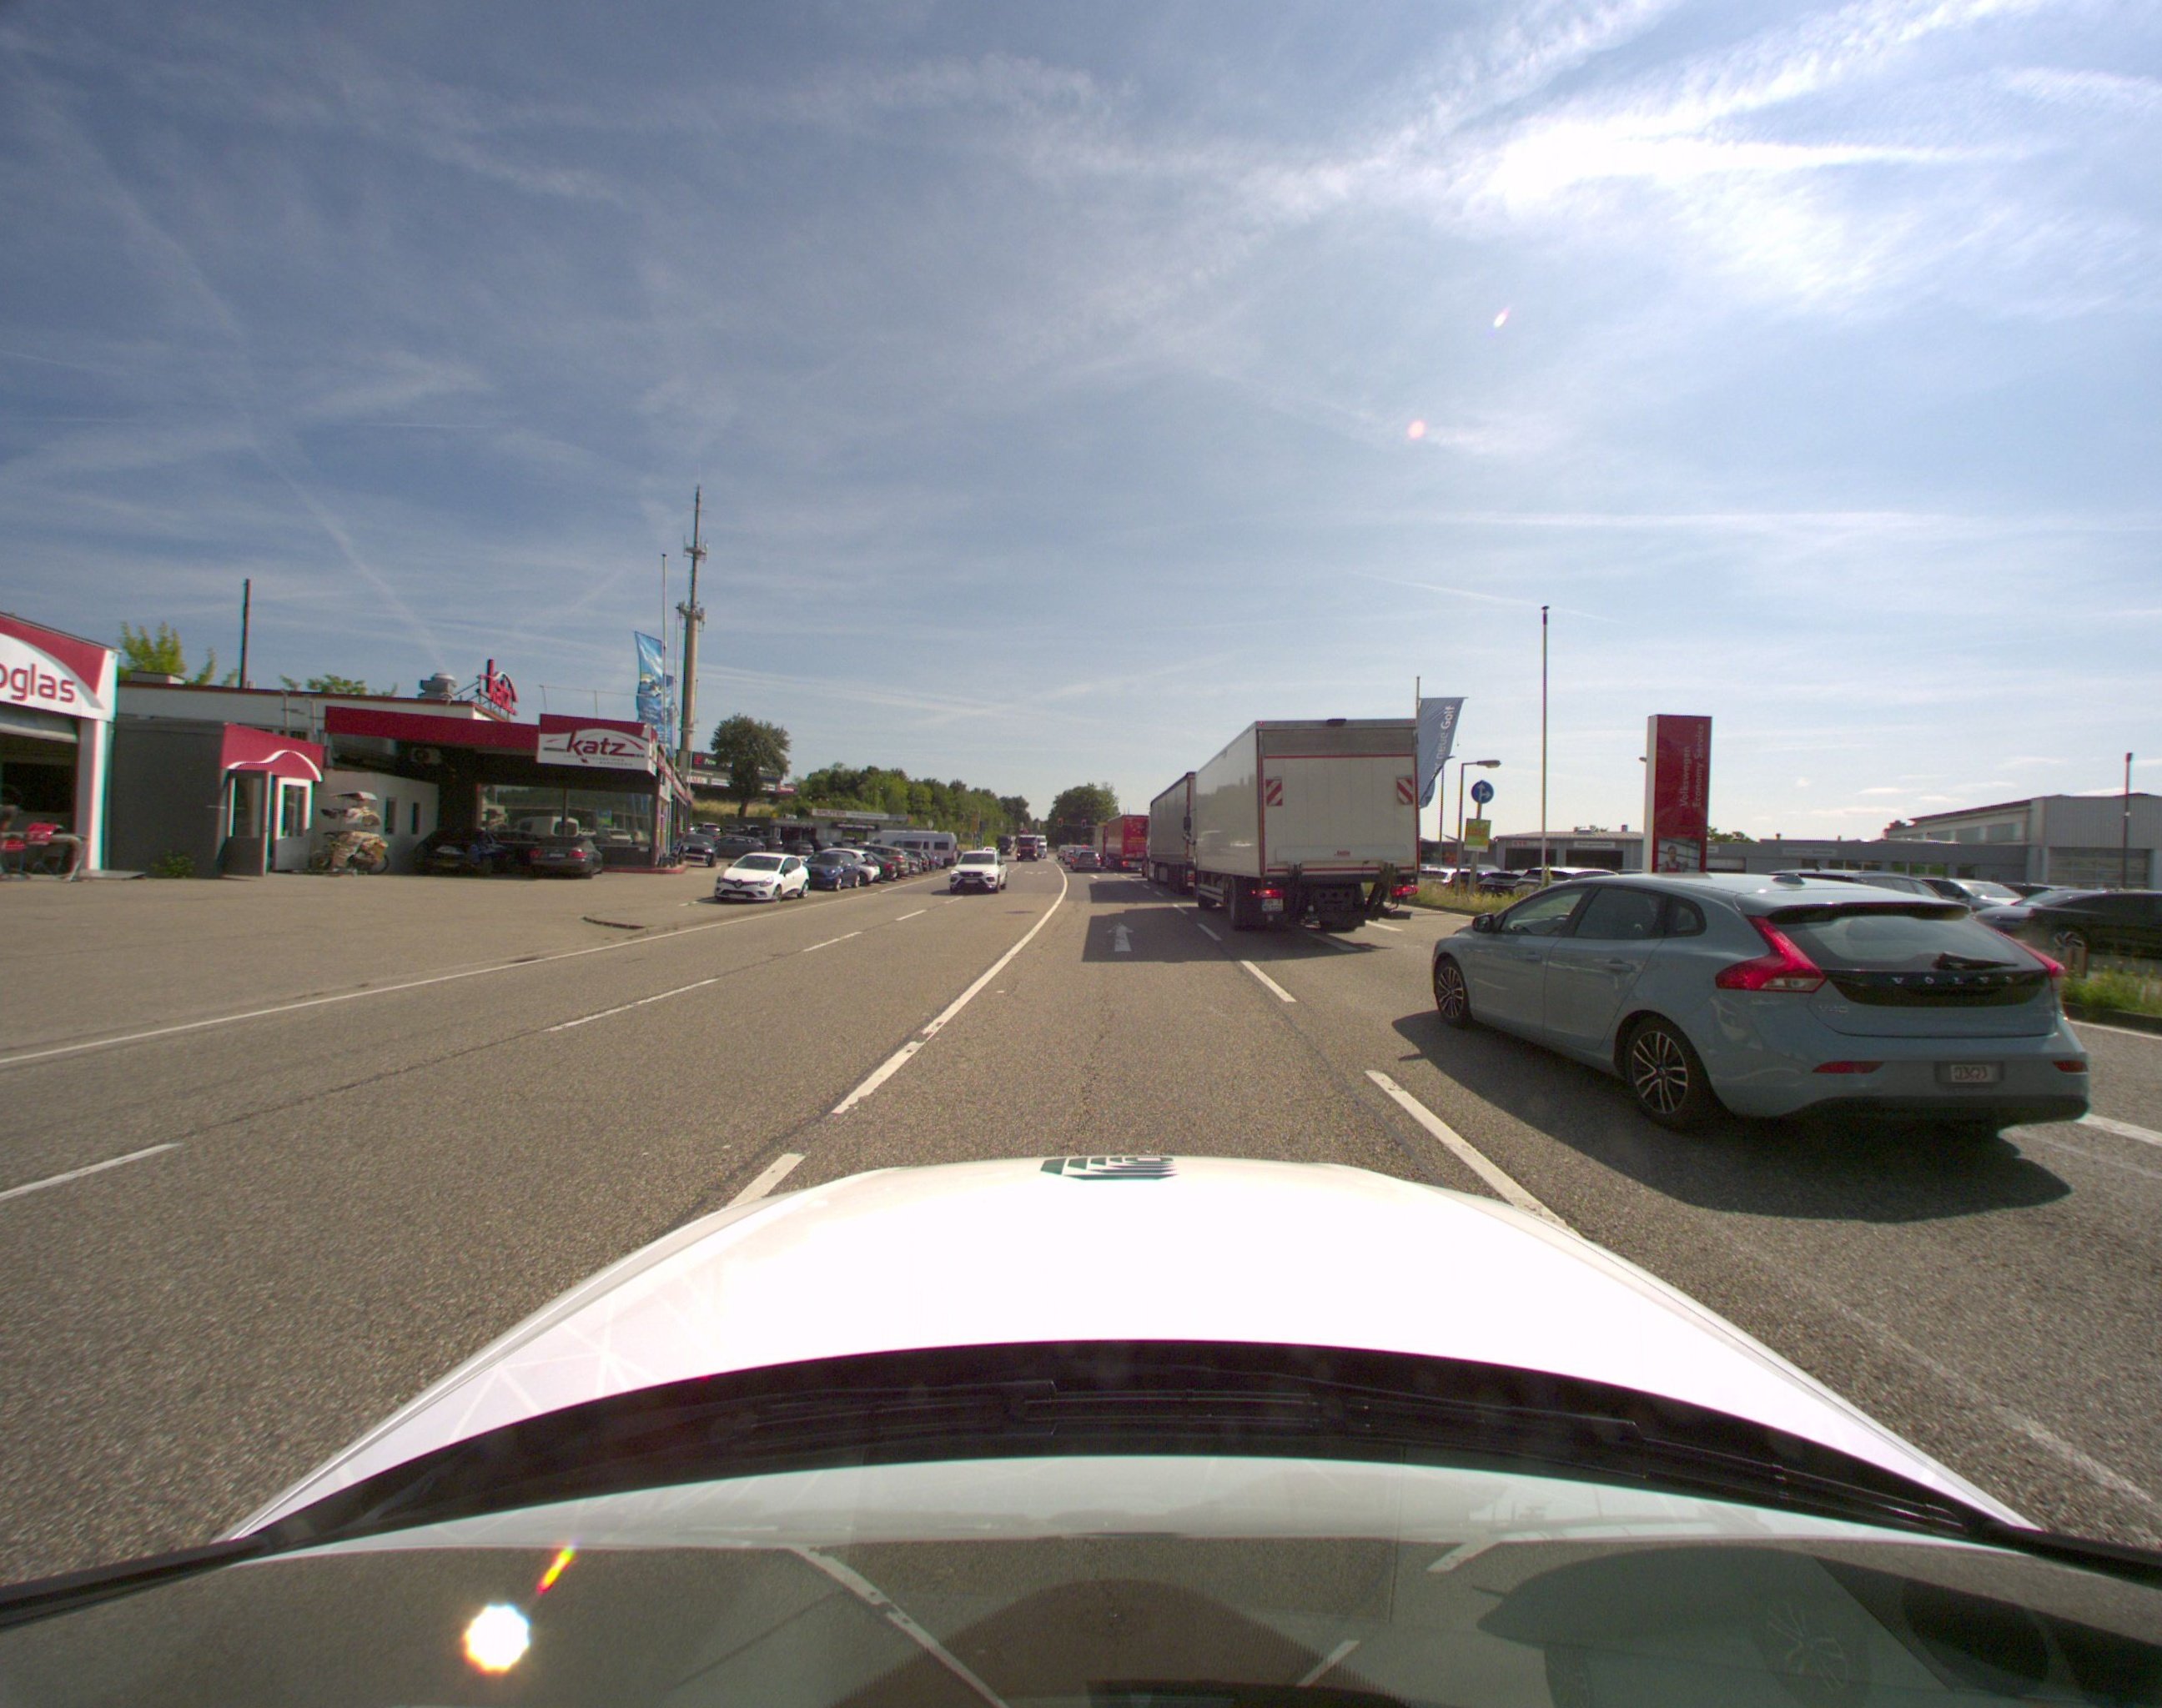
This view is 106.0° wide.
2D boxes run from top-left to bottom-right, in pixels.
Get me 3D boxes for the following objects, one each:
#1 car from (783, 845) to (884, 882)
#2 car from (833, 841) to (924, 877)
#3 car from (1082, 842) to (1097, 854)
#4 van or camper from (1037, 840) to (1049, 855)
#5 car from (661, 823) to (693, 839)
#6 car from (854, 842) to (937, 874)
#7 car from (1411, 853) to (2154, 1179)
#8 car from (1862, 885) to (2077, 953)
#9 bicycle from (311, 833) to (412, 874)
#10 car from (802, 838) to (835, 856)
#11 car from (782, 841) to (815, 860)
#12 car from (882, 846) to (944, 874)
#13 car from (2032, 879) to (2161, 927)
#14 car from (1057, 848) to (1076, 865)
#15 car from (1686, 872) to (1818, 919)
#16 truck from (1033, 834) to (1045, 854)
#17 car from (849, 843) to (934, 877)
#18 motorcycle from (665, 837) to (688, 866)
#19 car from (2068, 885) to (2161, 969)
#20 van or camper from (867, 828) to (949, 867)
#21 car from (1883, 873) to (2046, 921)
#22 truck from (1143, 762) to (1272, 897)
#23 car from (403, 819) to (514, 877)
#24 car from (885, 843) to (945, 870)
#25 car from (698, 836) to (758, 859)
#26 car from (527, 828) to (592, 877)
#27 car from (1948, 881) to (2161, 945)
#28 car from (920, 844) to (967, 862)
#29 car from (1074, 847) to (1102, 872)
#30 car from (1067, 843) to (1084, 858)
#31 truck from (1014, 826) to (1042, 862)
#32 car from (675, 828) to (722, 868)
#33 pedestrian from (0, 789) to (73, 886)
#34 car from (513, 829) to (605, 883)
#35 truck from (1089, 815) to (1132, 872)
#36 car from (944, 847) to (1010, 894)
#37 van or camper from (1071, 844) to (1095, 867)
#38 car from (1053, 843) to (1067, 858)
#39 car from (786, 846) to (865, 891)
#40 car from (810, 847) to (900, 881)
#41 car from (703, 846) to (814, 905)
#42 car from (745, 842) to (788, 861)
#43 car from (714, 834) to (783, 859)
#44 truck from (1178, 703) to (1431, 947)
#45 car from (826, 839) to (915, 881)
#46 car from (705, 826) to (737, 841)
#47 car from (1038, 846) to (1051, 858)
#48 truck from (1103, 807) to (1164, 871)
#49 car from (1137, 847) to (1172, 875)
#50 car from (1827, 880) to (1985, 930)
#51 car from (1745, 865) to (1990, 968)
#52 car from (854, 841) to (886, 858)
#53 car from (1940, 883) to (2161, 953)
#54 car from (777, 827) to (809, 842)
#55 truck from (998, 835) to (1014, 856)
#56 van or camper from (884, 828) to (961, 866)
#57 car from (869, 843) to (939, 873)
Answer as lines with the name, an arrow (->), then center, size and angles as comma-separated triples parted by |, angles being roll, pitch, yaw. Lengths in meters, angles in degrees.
car -> -10.582, 0.393, 35.055 | 3.788, 1.525, 1.844 | 1, 0, -4
car -> -10.560, 0.257, 42.801 | 4.269, 1.484, 1.834 | 5, 0, -4
car -> 1.136, -0.805, 108.663 | 1.723, 1.519, 3.309 | 2, -1, -3
van or camper -> -7.498, -1.269, 162.492 | 2.218, 2.840, 5.705 | 2, 0, -2
car -> -39.811, -2.258, 80.231 | 1.746, 1.537, 3.703 | 2, -1, -43
car -> -10.944, 0.237, 48.192 | 4.450, 1.484, 1.769 | 5, 0, -4
car -> 4.035, 0.733, 5.804 | 1.729, 1.428, 4.226 | 1, 0, 2
car -> 22.213, 1.571, 20.581 | 1.552, 1.409, 3.596 | 0, 0, 1
bicycle -> -20.116, -0.002, 22.799 | 2.000, 0.971, 0.412 | 6, -2, -23
car -> -24.015, -0.667, 74.510 | 1.776, 1.588, 3.788 | 0, 0, -35
car -> -25.148, -0.312, 72.538 | 1.776, 1.588, 3.788 | 0, 0, -35
car -> -10.881, 0.373, 52.998 | 3.700, 1.555, 1.706 | 3, 1, -4
car -> 34.981, 1.619, 27.627 | 1.549, 1.409, 3.699 | 0, 0, 10
car -> -1.438, 0.228, 79.180 | 1.723, 1.519, 3.308 | 2, 0, -4
car -> 22.637, 1.345, 27.630 | 1.553, 1.409, 3.596 | 0, 0, 1
truck -> -9.015, -2.191, 176.286 | 2.546, 4.307, 7.589 | 0, 0, -2
car -> -10.514, 0.335, 45.465 | 4.290, 1.484, 1.796 | 5, 0, -4
motorcycle -> -17.997, -0.107, 36.271 | 0.773, 1.261, 2.040 | 1, 0, -22
car -> 22.135, 1.462, 15.693 | 1.608, 1.594, 3.861 | 0, 0, 1
van or camper -> -13.378, -0.520, 63.222 | 5.877, 2.873, 2.288 | 1, 1, -3
car -> 29.621, 1.395, 27.471 | 1.553, 1.409, 3.689 | 0, 0, 1
truck -> 4.660, -0.816, 34.308 | 2.880, 4.266, 16.708 | 1, 0, 0
car -> -19.616, -0.233, 25.861 | 1.862, 1.504, 3.968 | 5, 1, -25
car -> -11.213, 0.159, 55.260 | 3.700, 1.484, 1.705 | 5, 0, -4
car -> -25.235, -0.451, 58.242 | 3.835, 1.588, 1.754 | 0, 0, -26
car -> -20.883, -0.089, 32.751 | 1.708, 1.759, 3.729 | 5, -1, -27
car -> 25.816, 1.503, 21.761 | 1.552, 1.427, 3.596 | 0, 0, 1
car -> -11.938, -0.079, 70.894 | 3.808, 1.539, 1.840 | 1, 0, -4
car -> 0.504, 0.383, 55.240 | 1.784, 1.638, 3.504 | 0, 0, 1
car -> -0.570, -0.350, 87.950 | 1.721, 1.519, 3.311 | 2, 0, 0
truck -> -6.476, -1.234, 101.131 | 2.947, 4.209, 10.642 | -1, 0, -1
car -> -19.093, -0.274, 40.524 | 1.831, 1.675, 4.091 | 7, -3, -27
pedestrian -> -19.750, -0.302, 15.187 | 0.719, 1.762, 0.895 | 2, -1, 1
car -> -17.380, 0.010, 27.333 | 1.862, 1.504, 4.362 | 4, 1, -24
truck -> 2.876, -1.082, 84.196 | 3.055, 5.220, 16.992 | 1, 0, -2
car -> -3.936, 0.579, 31.411 | 1.929, 1.674, 4.000 | -1, 0, 1
van or camper -> 0.160, 0.115, 69.789 | 1.848, 1.905, 3.781 | 2, 0, -3
car -> -2.850, -0.455, 110.317 | 1.721, 1.909, 3.312 | 2, 0, 1
car -> -9.940, 0.540, 31.932 | 1.774, 1.494, 3.781 | 5, 0, 0
car -> -10.390, 0.459, 37.718 | 3.700, 1.525, 1.790 | 0, 0, -4
car -> -9.743, 0.598, 24.945 | 1.773, 1.618, 3.999 | 1, 0, 0
car -> -27.700, -0.230, 71.679 | 3.780, 1.588, 1.780 | 1, 0, 38
car -> -20.914, -0.465, 51.199 | 3.957, 1.532, 1.754 | 0, 0, -26
truck -> 4.200, -0.476, 18.434 | 2.869, 3.811, 11.144 | 1, 0, 1
car -> -10.316, 0.303, 40.145 | 3.878, 1.716, 1.804 | 5, 0, -4
car -> -36.609, -2.086, 82.757 | 1.746, 1.450, 3.703 | 2, -1, -43
car -> -5.254, -0.293, 116.941 | 1.801, 1.560, 4.385 | 0, 0, -1
truck -> 3.795, -1.068, 63.634 | 2.950, 4.269, 16.570 | 1, 0, -2
car -> 4.548, 0.393, 50.681 | 1.813, 1.685, 4.000 | 0, 0, 0
car -> 27.057, 1.639, 26.880 | 1.553, 1.409, 3.594 | 0, 0, -1
car -> 12.581, 0.903, 13.029 | 3.599, 1.409, 1.551 | 0, 0, -23
car -> -20.090, -0.432, 77.475 | 1.776, 1.588, 3.788 | 0, 0, -35
car -> 23.886, 1.502, 20.143 | 1.552, 1.427, 3.596 | 0, 0, 1
car -> -30.041, -2.060, 84.929 | 1.746, 1.450, 3.703 | 2, -1, -43
truck -> -14.097, -1.656, 152.227 | 2.809, 3.786, 6.975 | 0, 1, -6
van or camper -> -11.795, -0.520, 60.848 | 5.230, 2.731, 2.209 | 1, 0, -1
car -> -10.902, 0.226, 50.335 | 3.837, 1.484, 1.799 | 5, 0, -4
